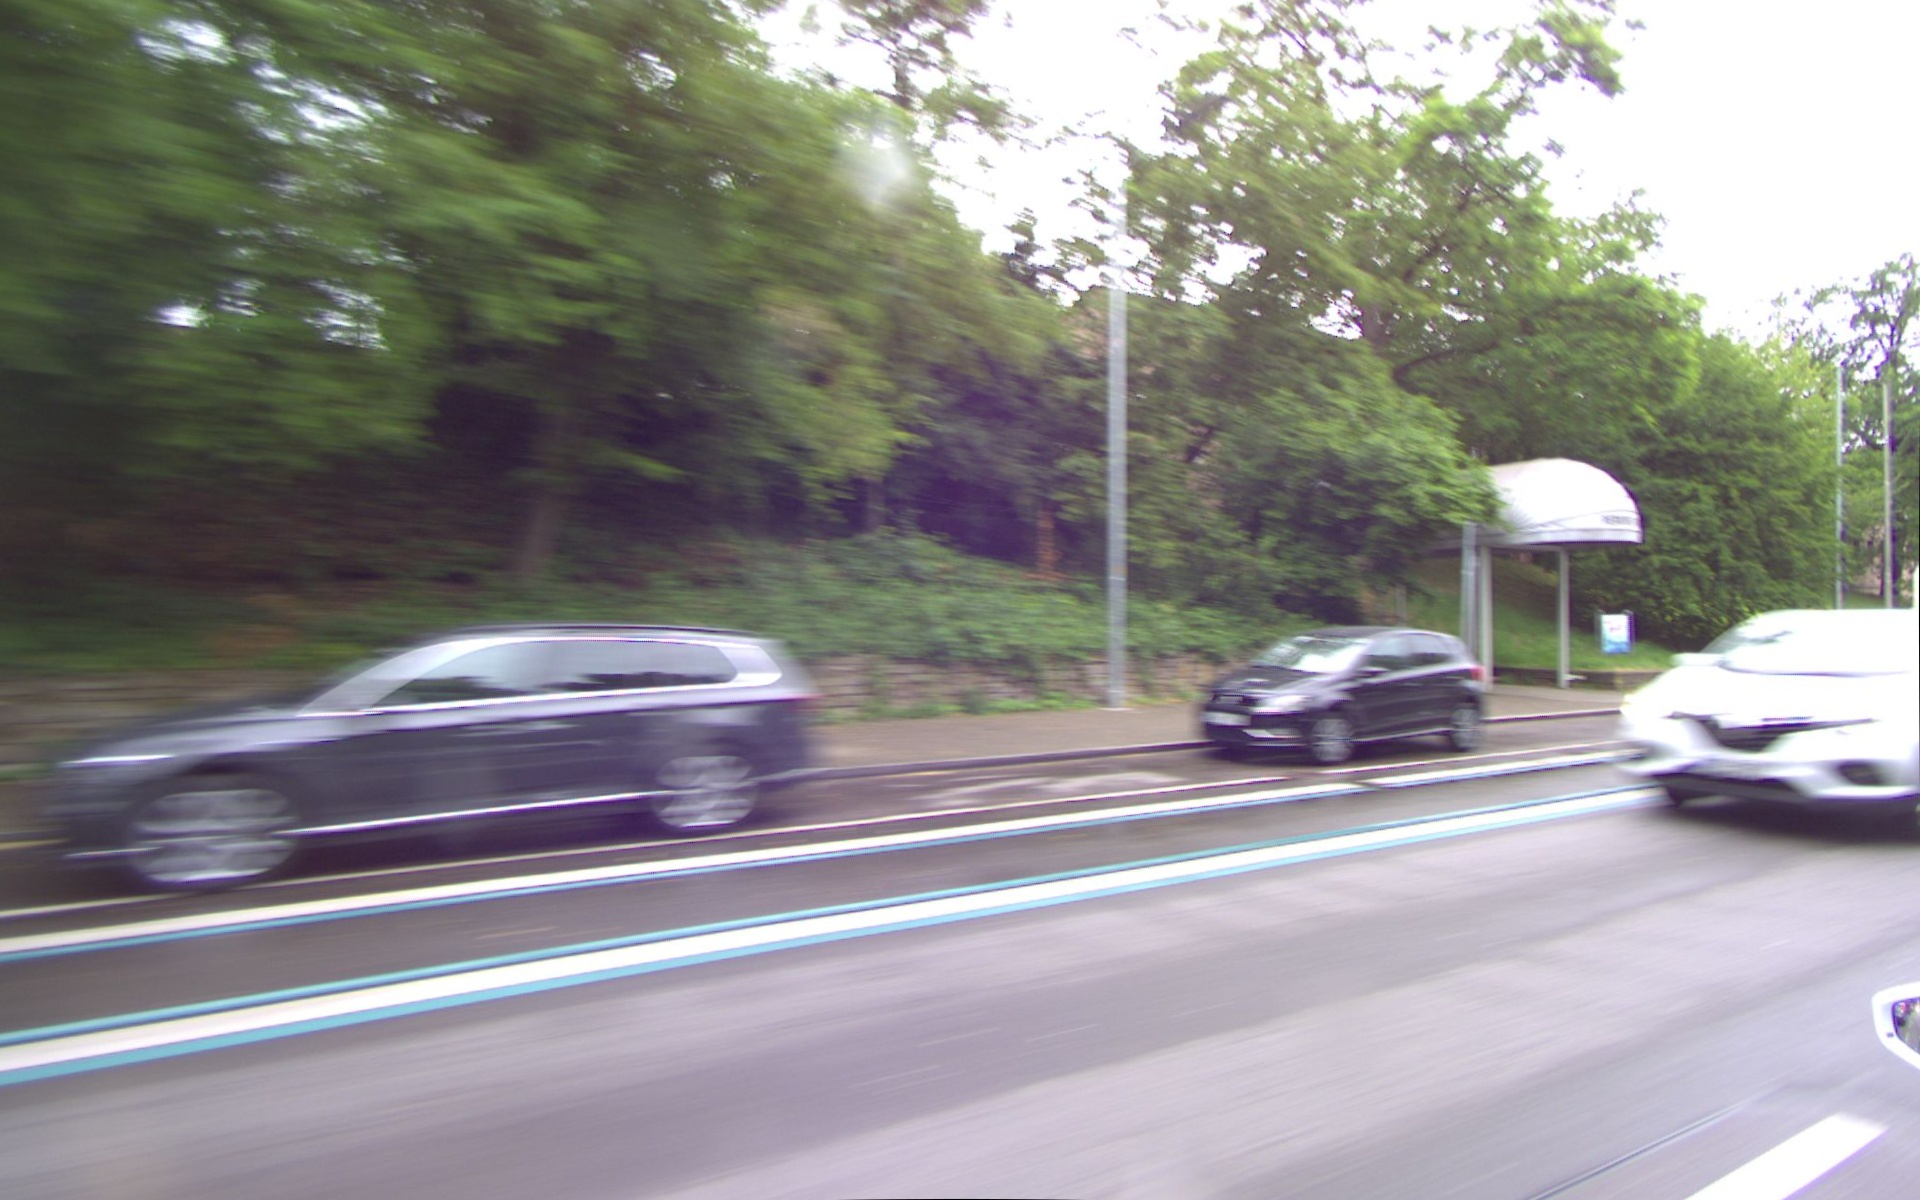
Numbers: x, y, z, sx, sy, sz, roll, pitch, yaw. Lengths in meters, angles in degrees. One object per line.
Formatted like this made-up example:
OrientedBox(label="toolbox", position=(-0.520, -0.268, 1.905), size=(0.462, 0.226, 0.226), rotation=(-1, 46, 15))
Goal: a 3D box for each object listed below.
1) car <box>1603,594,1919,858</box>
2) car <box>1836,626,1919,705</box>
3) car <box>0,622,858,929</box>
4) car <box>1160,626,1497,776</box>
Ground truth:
OrientedBox(label="car", position=(7.302, 0.854, 8.203), size=(4.080, 1.673, 1.787), rotation=(1, -2, -30))
OrientedBox(label="car", position=(20.179, 1.298, 20.714), size=(4.624, 1.502, 2.065), rotation=(1, -1, -34))
OrientedBox(label="car", position=(-3.245, 0.909, 7.026), size=(4.706, 1.482, 1.944), rotation=(1, -1, -34))
OrientedBox(label="car", position=(4.402, 1.063, 11.841), size=(3.948, 1.477, 1.662), rotation=(1, -1, -32))
